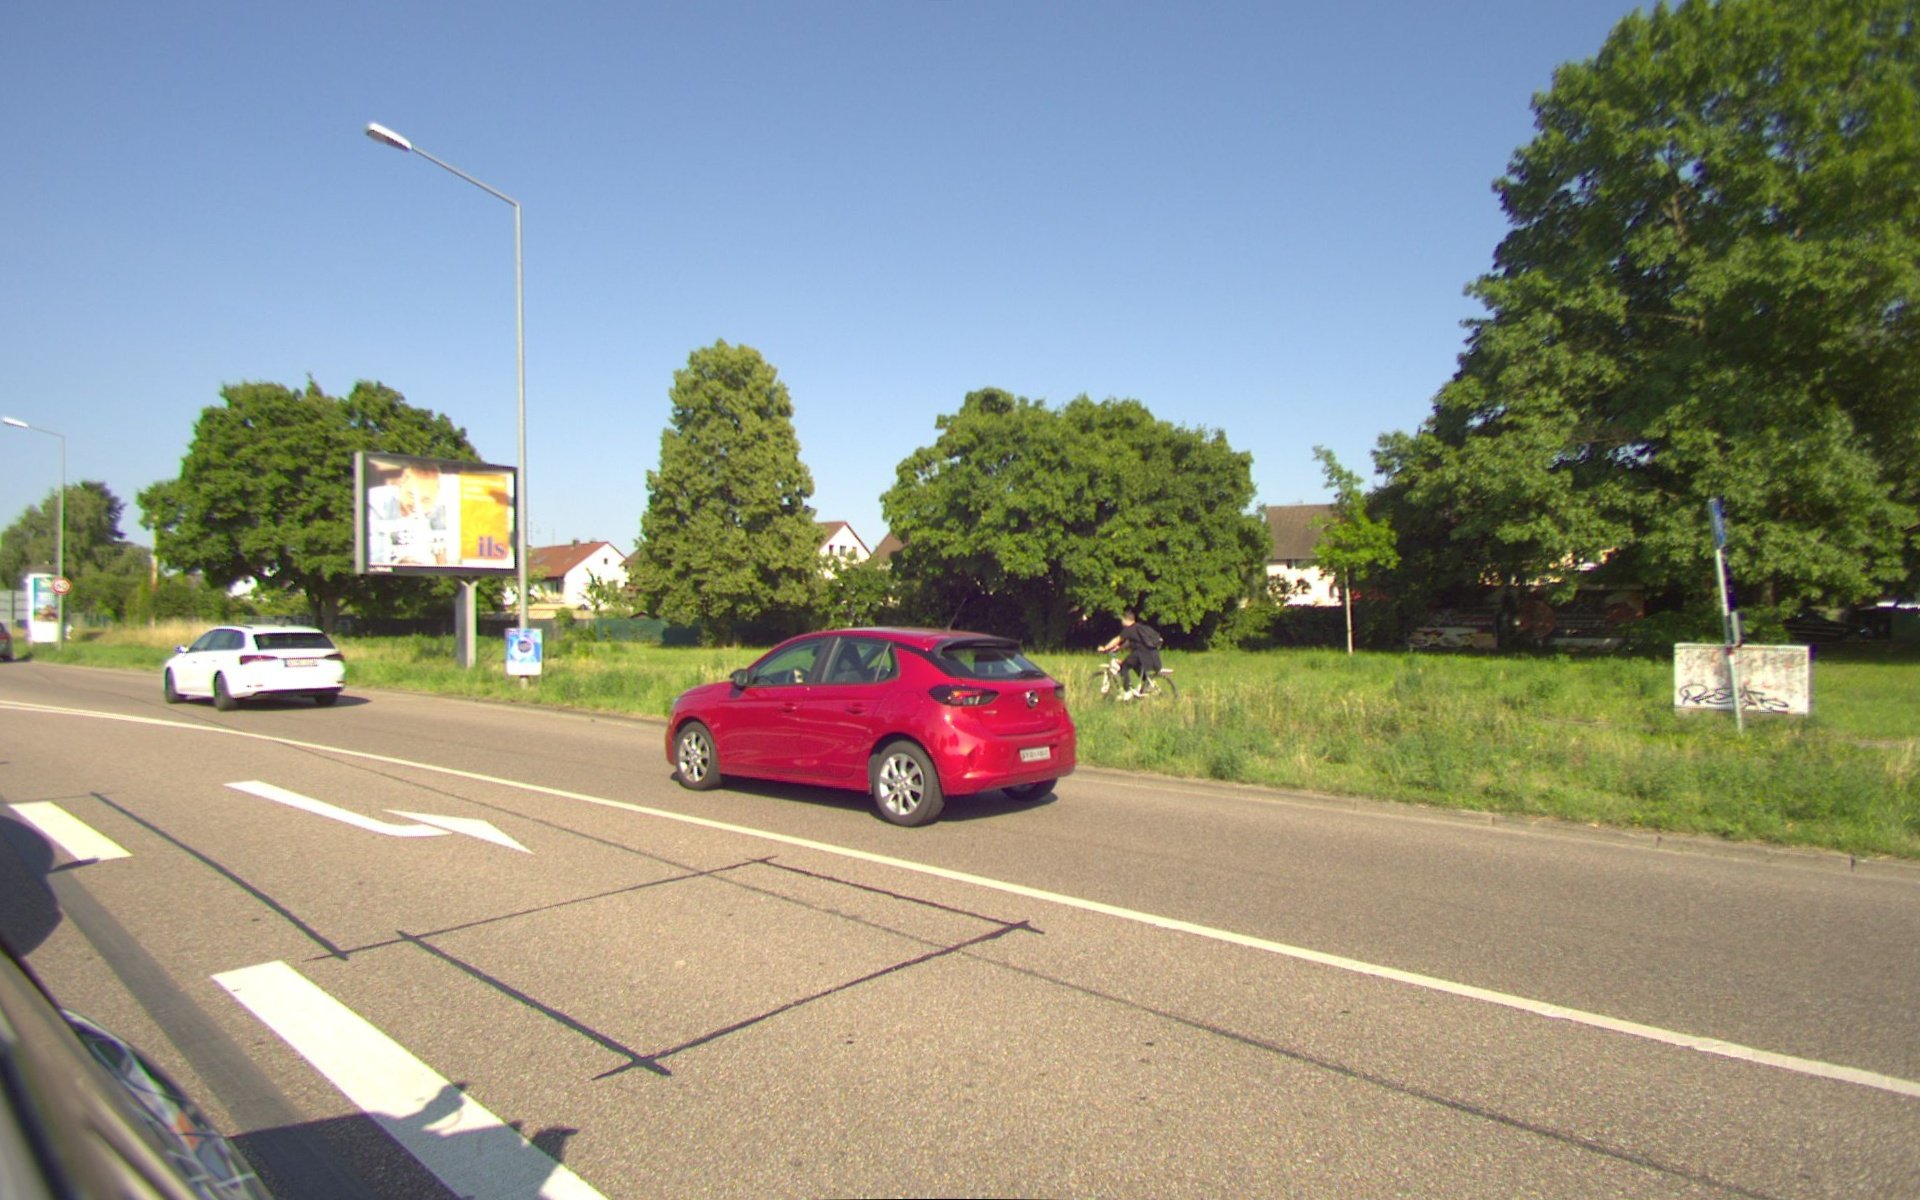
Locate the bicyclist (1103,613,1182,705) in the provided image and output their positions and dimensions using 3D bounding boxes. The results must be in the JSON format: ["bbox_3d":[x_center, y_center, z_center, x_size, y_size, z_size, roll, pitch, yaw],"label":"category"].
[{"bbox_3d":[2.956,0.937,16.438,1.071,1.439,0.630,-2,-2,42],"label":"bicyclist"}]

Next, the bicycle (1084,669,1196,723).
[{"bbox_3d":[2.913,1.548,16.500,1.834,0.759,0.449,-1,-1,42],"label":"bicycle"}]

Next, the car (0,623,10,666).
[{"bbox_3d":[-35.186,1.578,35.661,4.278,1.489,1.763,-1,-1,37],"label":"car"}]

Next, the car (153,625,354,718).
[{"bbox_3d":[-12.833,1.209,18.300,4.265,1.489,1.763,-1,-2,37],"label":"car"}]

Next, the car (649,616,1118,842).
[{"bbox_3d":[-0.791,0.916,8.656,3.912,1.489,1.761,-2,-3,41],"label":"car"}]
